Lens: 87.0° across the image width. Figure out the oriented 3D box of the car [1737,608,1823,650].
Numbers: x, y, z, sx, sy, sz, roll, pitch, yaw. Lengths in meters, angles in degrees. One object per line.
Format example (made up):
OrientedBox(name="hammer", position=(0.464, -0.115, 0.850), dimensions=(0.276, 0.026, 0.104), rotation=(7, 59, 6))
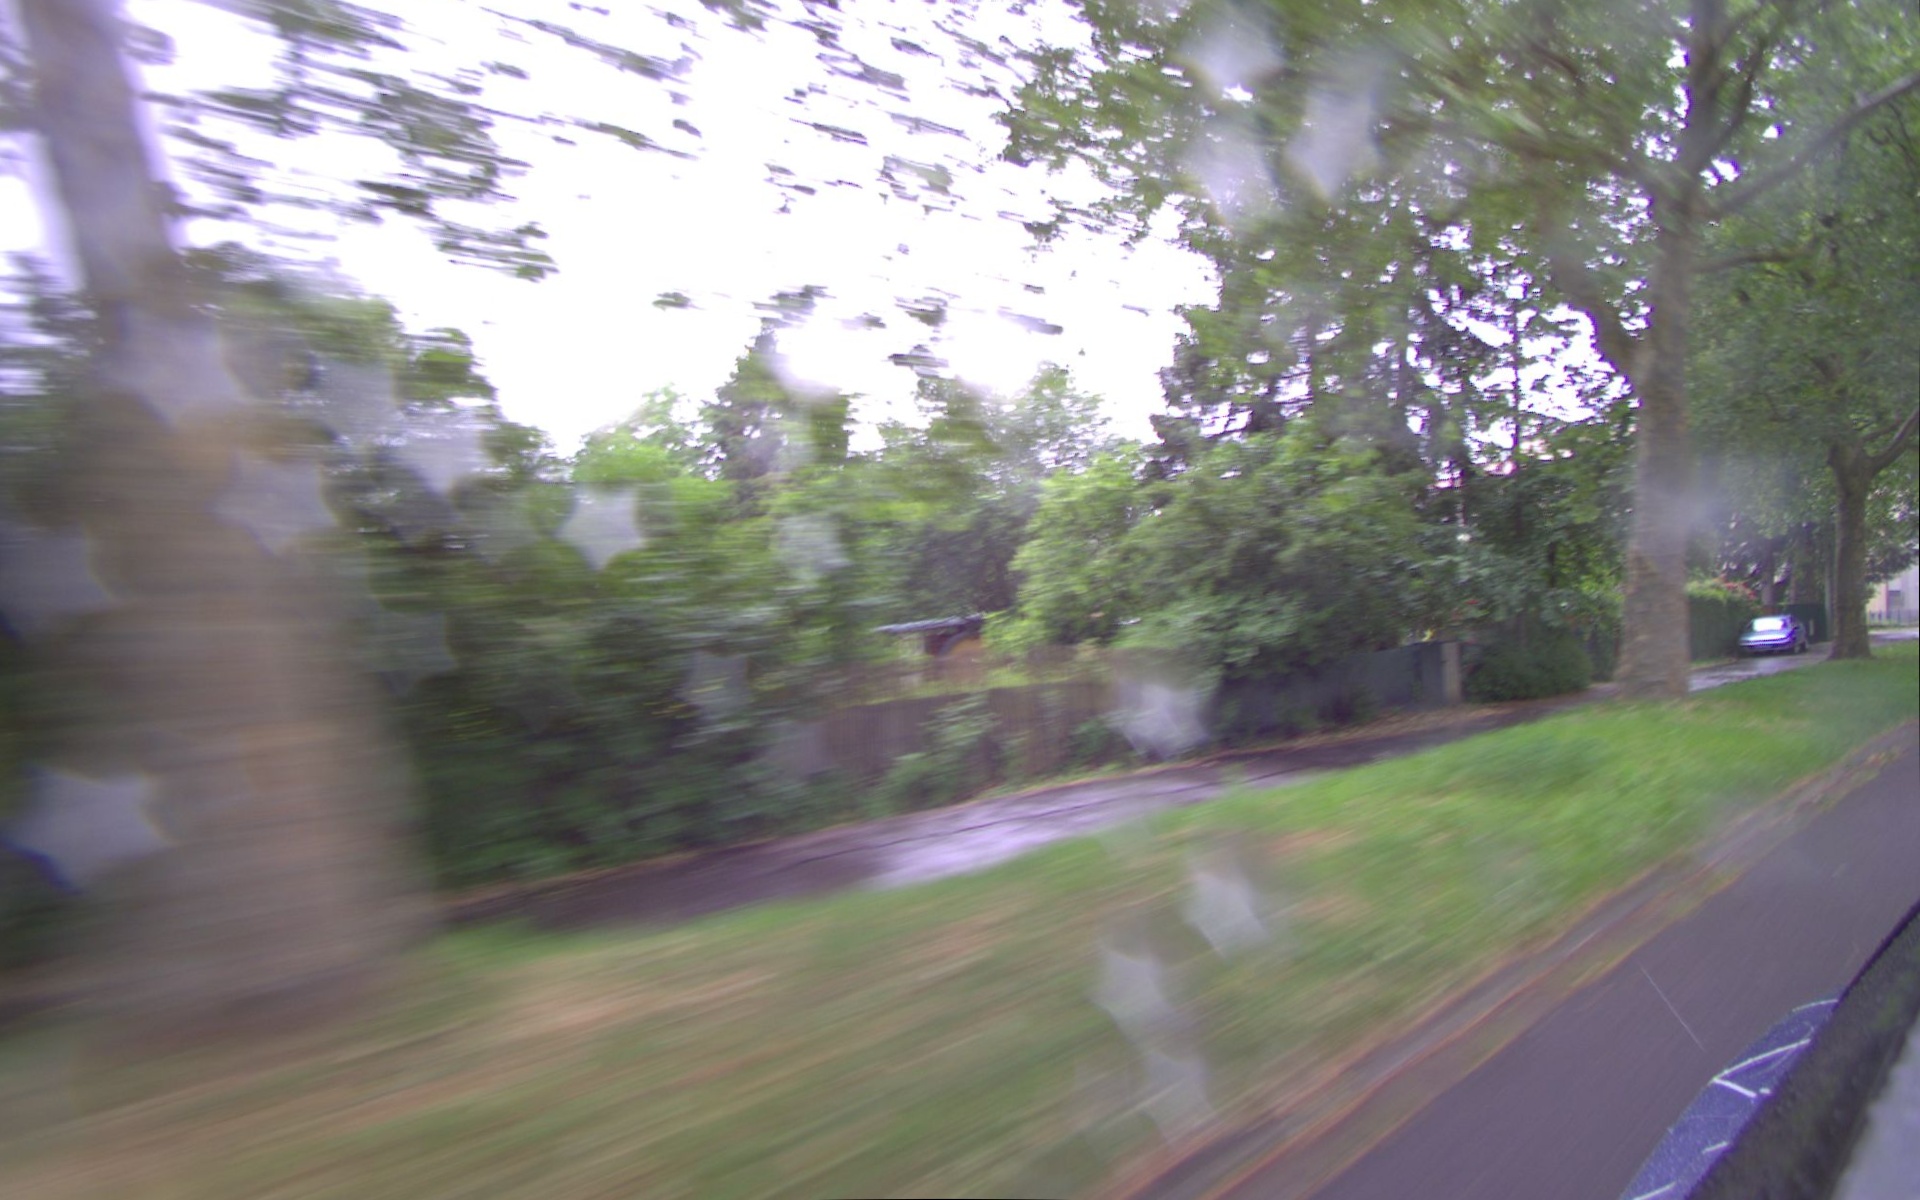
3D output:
OrientedBox(name="car", position=(30.539, 1.079, 37.670), dimensions=(3.931, 1.343, 1.797), rotation=(-1, -4, -42))
